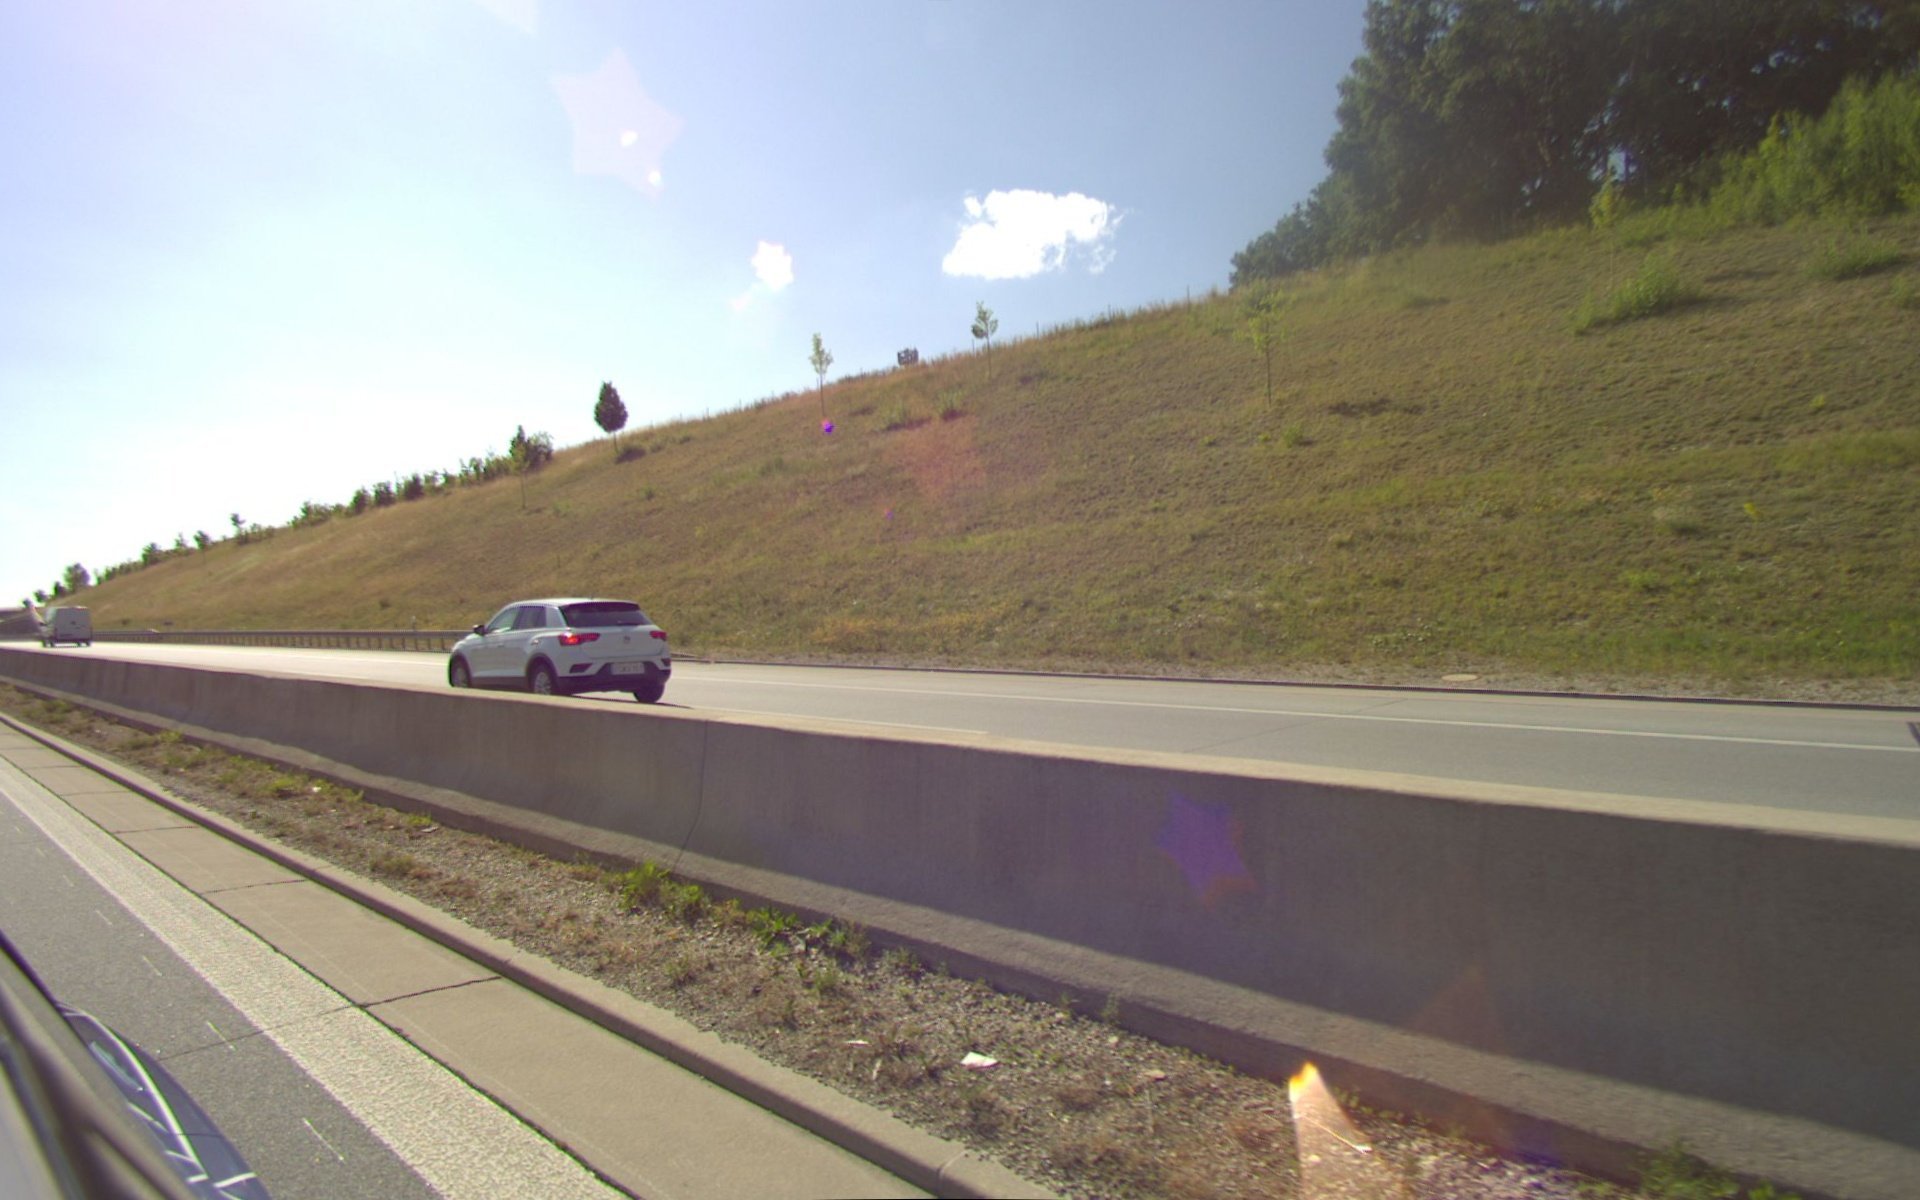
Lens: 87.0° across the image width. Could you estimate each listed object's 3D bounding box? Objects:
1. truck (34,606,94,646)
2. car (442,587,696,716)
[{"bbox_3d":[-58.154,1.710,65.621,5.947,2.479,2.091,-2,-1,41],"label":"truck"},{"bbox_3d":[-5.766,0.678,14.720,4.037,1.613,1.757,-2,0,41],"label":"car"}]
